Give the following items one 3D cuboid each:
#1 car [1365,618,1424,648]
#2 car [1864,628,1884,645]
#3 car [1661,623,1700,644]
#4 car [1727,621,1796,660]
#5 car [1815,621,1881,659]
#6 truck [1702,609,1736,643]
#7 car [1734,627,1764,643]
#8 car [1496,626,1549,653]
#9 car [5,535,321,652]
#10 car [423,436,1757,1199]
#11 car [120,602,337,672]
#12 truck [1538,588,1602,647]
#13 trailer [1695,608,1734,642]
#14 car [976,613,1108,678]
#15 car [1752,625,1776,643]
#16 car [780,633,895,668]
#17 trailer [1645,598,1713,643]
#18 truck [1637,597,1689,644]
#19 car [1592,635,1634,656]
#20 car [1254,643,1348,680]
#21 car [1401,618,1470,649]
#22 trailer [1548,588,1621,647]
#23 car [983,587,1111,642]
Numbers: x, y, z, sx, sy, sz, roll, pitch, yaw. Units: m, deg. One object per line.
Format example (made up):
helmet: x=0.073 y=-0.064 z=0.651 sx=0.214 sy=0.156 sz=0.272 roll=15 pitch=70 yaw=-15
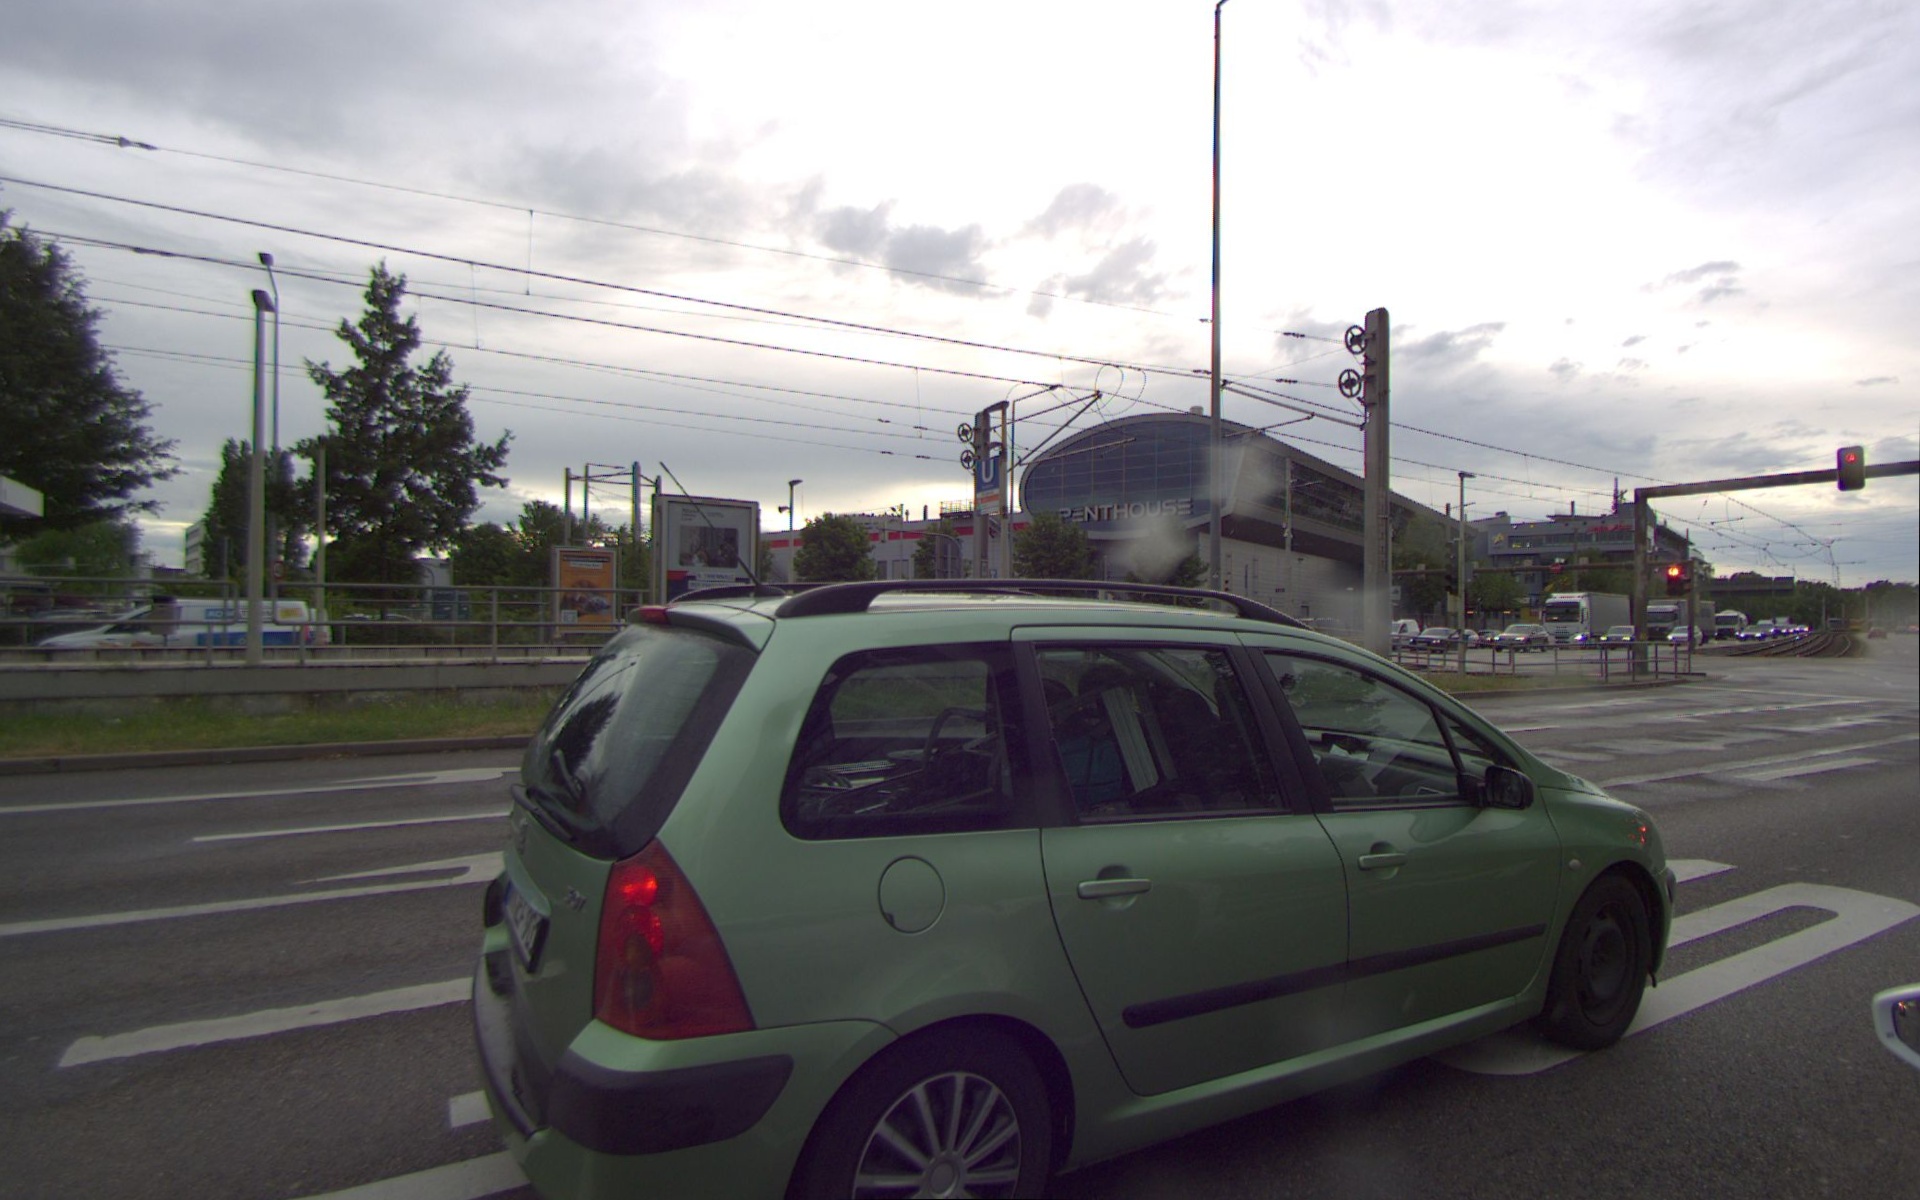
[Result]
car: x=25.337 y=1.918 z=58.545 sx=4.051 sy=1.648 sz=1.558 roll=2 pitch=0 yaw=-41
car: x=121.508 y=4.873 z=133.538 sx=1.754 sy=2.040 sz=4.321 roll=3 pitch=0 yaw=44
car: x=60.345 y=2.797 z=84.119 sx=4.066 sy=1.674 sz=1.869 roll=2 pitch=0 yaw=-42
car: x=44.448 y=2.208 z=55.677 sx=4.303 sy=2.041 sz=1.761 roll=1 pitch=1 yaw=-35
car: x=49.989 y=2.223 z=56.545 sx=4.303 sy=2.041 sz=1.761 roll=1 pitch=1 yaw=-35
truck: x=89.164 y=3.056 z=118.062 sx=2.708 sy=3.855 sz=5.398 roll=-2 pitch=-3 yaw=33
car: x=84.236 y=3.706 z=107.229 sx=4.534 sy=1.576 sz=1.885 roll=2 pitch=0 yaw=-43
car: x=33.805 y=2.343 z=60.349 sx=1.720 sy=1.481 sz=4.127 roll=2 pitch=0 yaw=44
car: x=-17.099 y=-0.084 z=21.974 sx=5.083 sy=2.244 sz=1.984 roll=2 pitch=0 yaw=-30
car: x=0.707 y=0.552 z=3.397 sx=4.354 sy=1.488 sz=1.686 roll=2 pitch=0 yaw=-31
car: x=-19.988 y=1.031 z=27.760 sx=4.613 sy=1.722 sz=2.094 roll=2 pitch=0 yaw=-31
truck: x=43.753 y=1.292 z=71.997 sx=2.801 sy=4.049 sz=5.953 roll=-1 pitch=-1 yaw=43
trailer: x=92.247 y=3.194 z=122.973 sx=2.686 sy=3.905 sz=11.204 roll=-1 pitch=-3 yaw=32
car: x=2.817 y=1.545 z=34.152 sx=4.303 sy=2.040 sz=1.761 roll=2 pitch=0 yaw=-35
car: x=96.384 y=4.053 z=120.365 sx=1.971 sy=1.862 sz=4.881 roll=3 pitch=2 yaw=42
car: x=-4.465 y=1.870 z=36.814 sx=3.894 sy=1.146 sz=1.517 roll=2 pitch=0 yaw=-34
trailer: x=70.221 y=2.107 z=97.975 sx=12.649 sy=4.179 sz=2.626 roll=2 pitch=-3 yaw=-42
truck: x=65.784 y=1.973 z=93.996 sx=6.139 sy=4.184 sz=2.643 roll=2 pitch=-2 yaw=-41
car: x=44.187 y=3.079 z=67.890 sx=1.885 sy=1.281 sz=4.394 roll=2 pitch=0 yaw=39
car: x=15.616 y=2.770 z=45.848 sx=4.890 sy=1.517 sz=1.664 roll=2 pitch=0 yaw=-39
car: x=25.584 y=1.825 z=53.997 sx=3.965 sy=1.522 sz=1.773 roll=2 pitch=0 yaw=-38
trailer: x=47.460 y=1.389 z=76.131 sx=2.764 sy=4.161 sz=11.380 roll=-1 pitch=-2 yaw=42
car: x=2.987 y=0.489 z=34.035 sx=4.222 sy=1.688 sz=1.520 roll=2 pitch=0 yaw=-32
